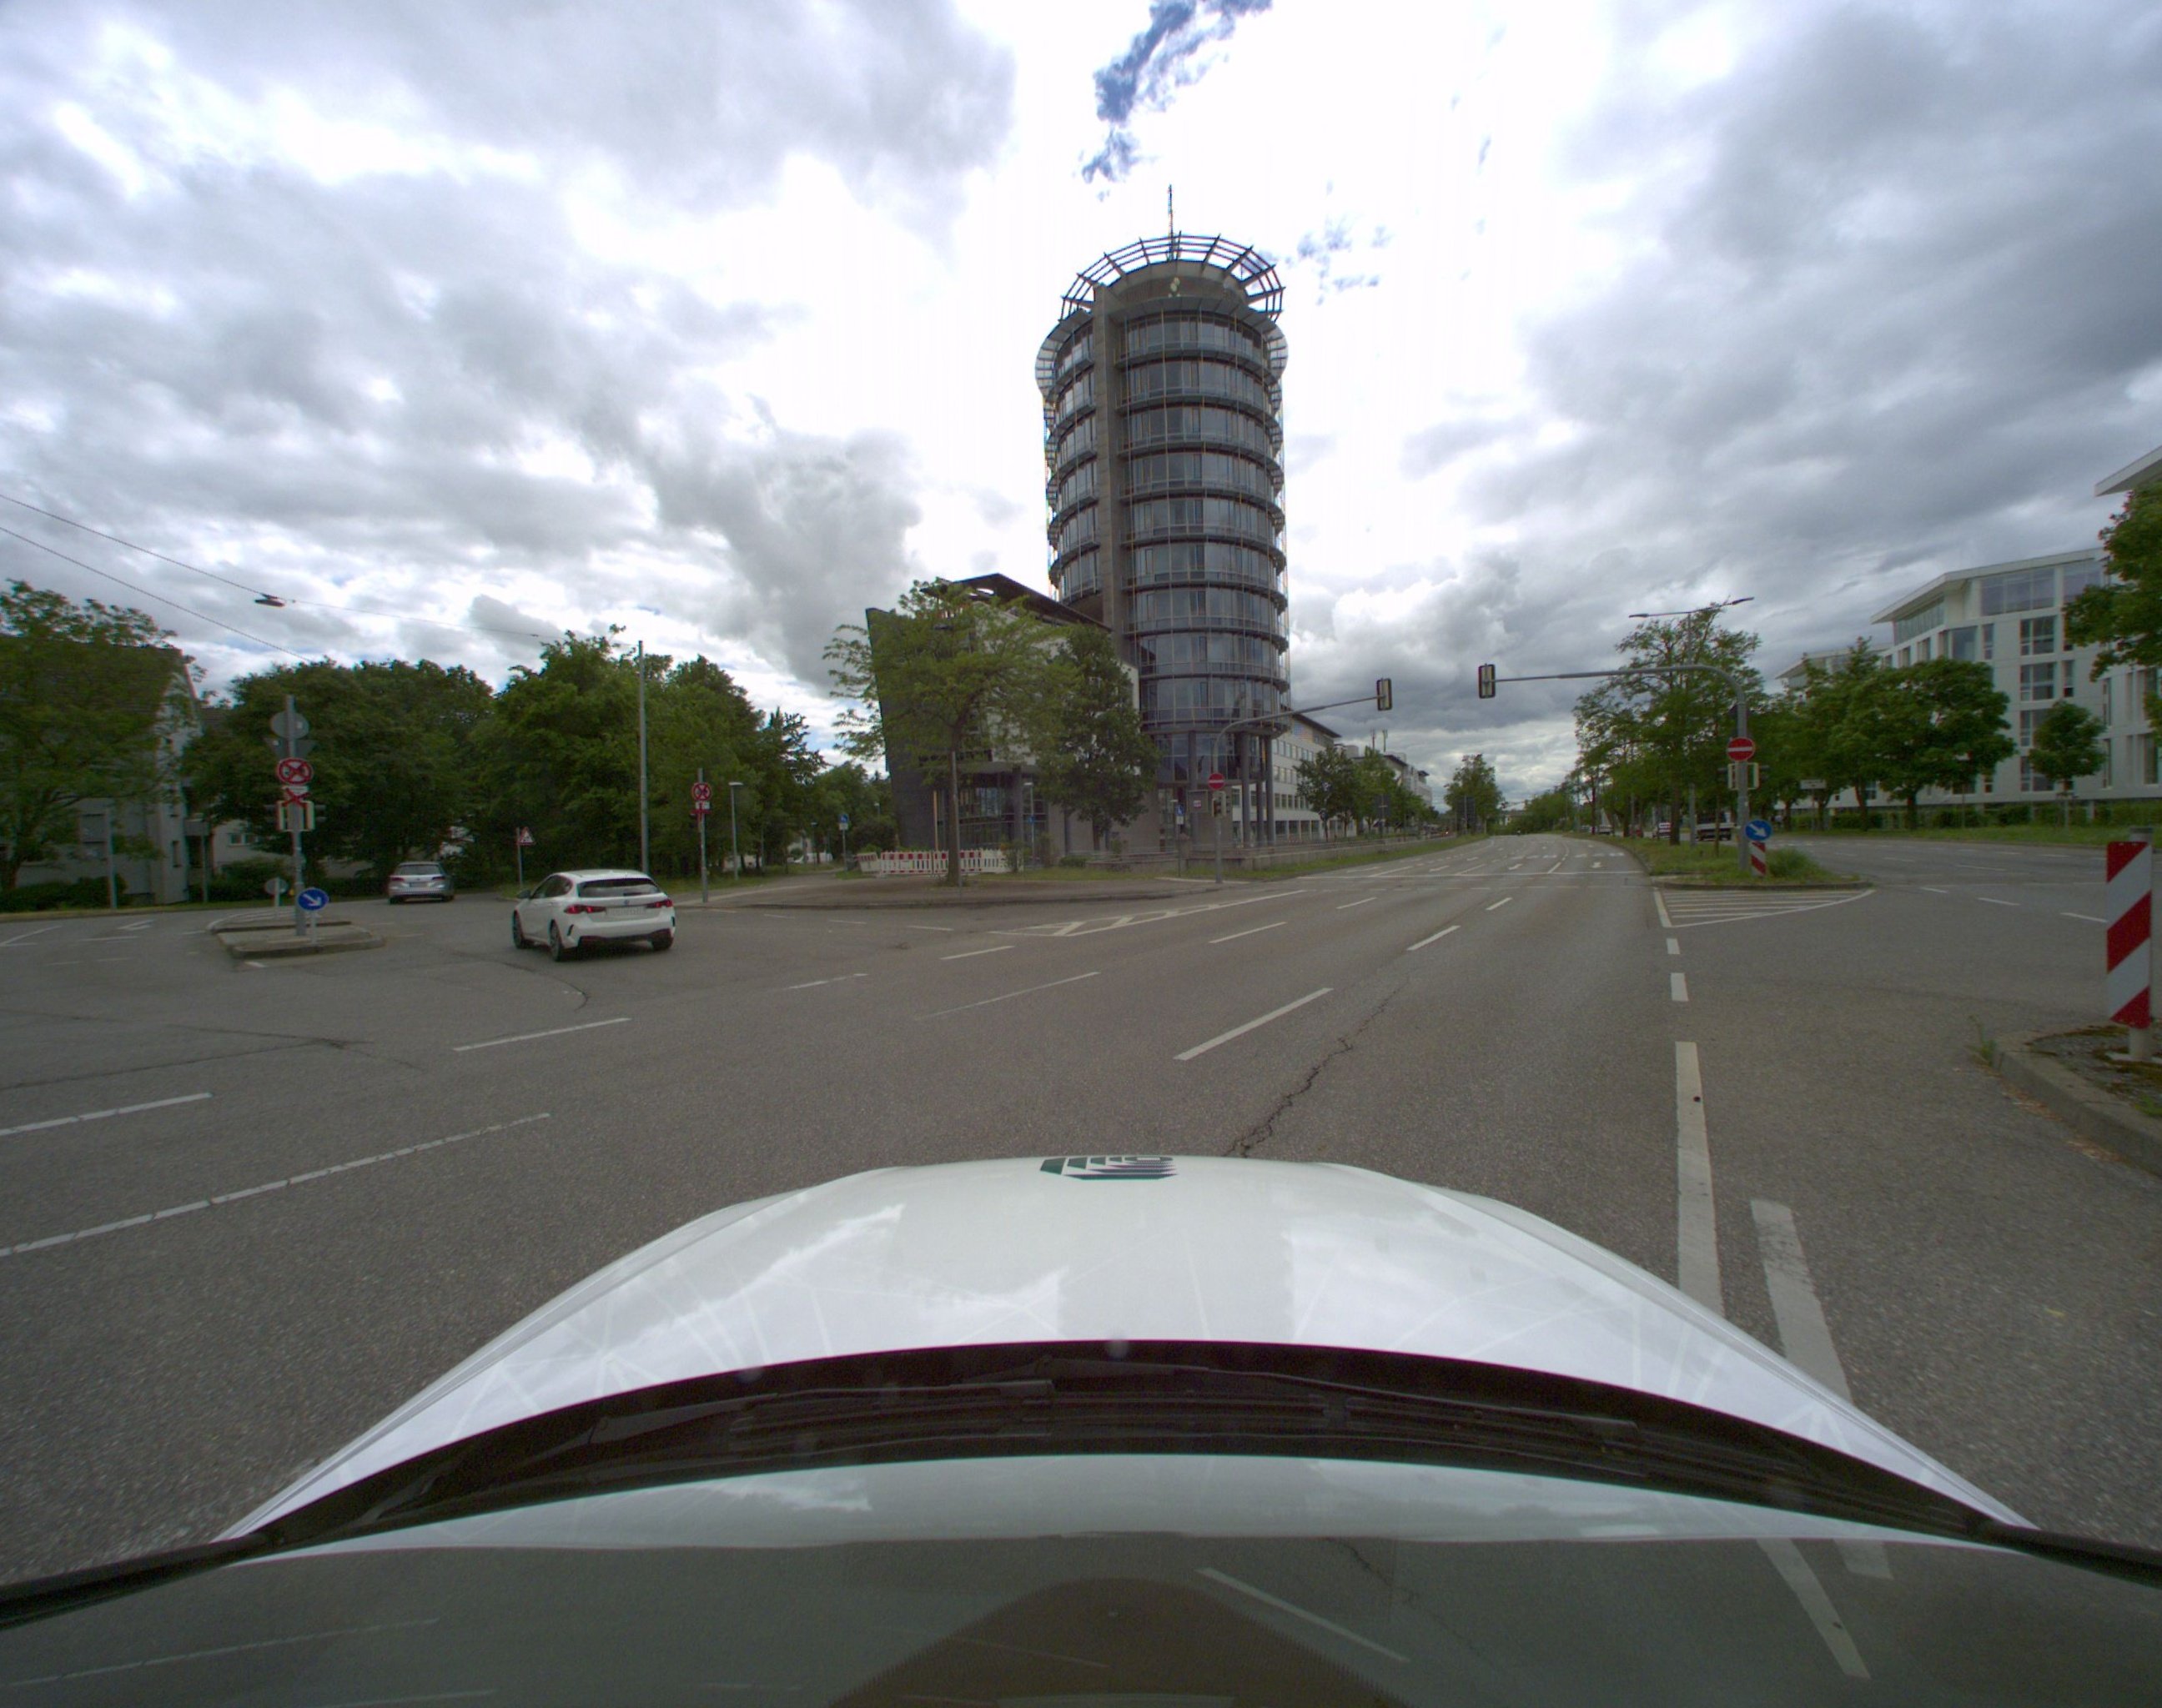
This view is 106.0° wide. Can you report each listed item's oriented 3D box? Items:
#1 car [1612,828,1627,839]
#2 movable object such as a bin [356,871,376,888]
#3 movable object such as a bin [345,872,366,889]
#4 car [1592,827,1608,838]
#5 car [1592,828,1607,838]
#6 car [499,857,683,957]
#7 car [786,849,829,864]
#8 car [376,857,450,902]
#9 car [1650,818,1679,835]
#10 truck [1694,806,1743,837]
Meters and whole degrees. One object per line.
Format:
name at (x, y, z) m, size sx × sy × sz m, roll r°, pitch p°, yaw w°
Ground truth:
car at (95.904, -3.646, 144.994) m, size 1.975 × 1.867 × 4.025 m, roll 1°, pitch 0°, yaw 29°
movable object such as a bin at (-37.840, 1.358, 43.094) m, size 0.594 × 0.845 × 0.580 m, roll 1°, pitch 0°, yaw 18°
movable object such as a bin at (-37.941, 1.363, 42.610) m, size 0.594 × 0.866 × 0.580 m, roll 1°, pitch 0°, yaw 18°
car at (79.327, -3.308, 124.459) m, size 1.974 × 1.651 × 4.025 m, roll 1°, pitch 0°, yaw 30°
car at (86.931, -3.515, 136.651) m, size 1.974 × 1.651 × 4.025 m, roll 1°, pitch 0°, yaw 30°
car at (-9.013, 0.893, 14.834) m, size 4.154 × 1.517 × 1.812 m, roll -2°, pitch -1°, yaw 44°
car at (-48.990, 0.376, 146.175) m, size 7.017 × 2.522 × 2.060 m, roll -1°, pitch 1°, yaw -40°
car at (-25.670, 0.956, 31.409) m, size 1.938 × 1.574 × 3.956 m, roll -2°, pitch 0°, yaw -36°
car at (61.431, -2.899, 85.816) m, size 1.853 × 1.673 × 3.909 m, roll 1°, pitch 0°, yaw 26°
truck at (50.853, -2.551, 65.070) m, size 2.531 × 2.376 × 4.617 m, roll 1°, pitch 0°, yaw 31°
